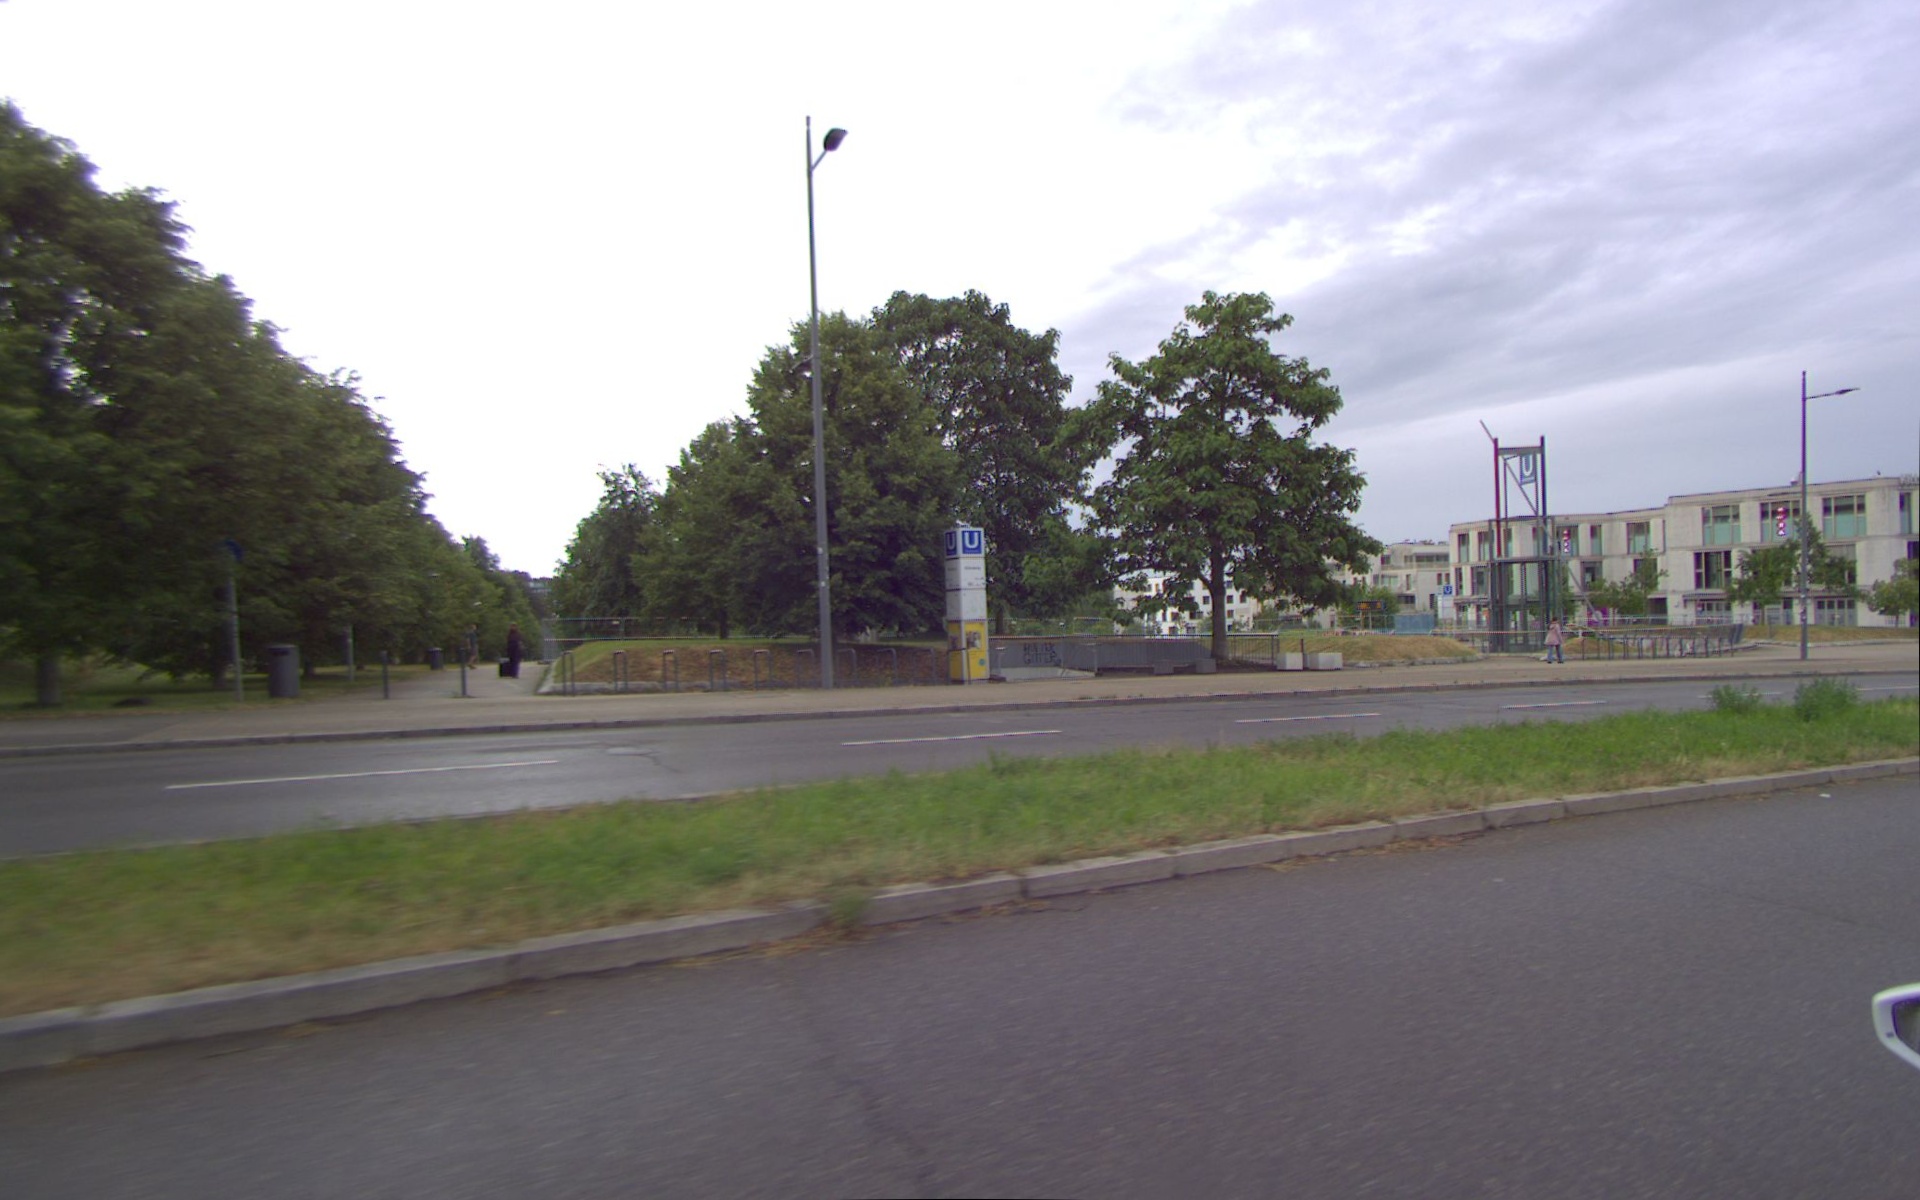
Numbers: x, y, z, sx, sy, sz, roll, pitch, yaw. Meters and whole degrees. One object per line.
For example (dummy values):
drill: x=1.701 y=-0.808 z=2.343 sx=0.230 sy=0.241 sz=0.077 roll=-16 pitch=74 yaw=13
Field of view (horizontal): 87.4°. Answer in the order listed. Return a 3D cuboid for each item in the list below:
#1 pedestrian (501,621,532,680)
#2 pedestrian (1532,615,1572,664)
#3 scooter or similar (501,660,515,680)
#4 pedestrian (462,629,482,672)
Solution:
pedestrian: x=-13.179 y=1.497 z=29.856 sx=0.746 sy=1.750 sz=0.643 roll=2 pitch=-1 yaw=-27
pedestrian: x=20.121 y=1.337 z=34.134 sx=0.923 sy=1.642 sz=0.811 roll=2 pitch=-1 yaw=-27
scooter or similar: x=-13.600 y=2.103 z=30.214 sx=0.354 sy=0.605 sz=0.389 roll=2 pitch=-2 yaw=-28
pedestrian: x=-19.975 y=2.067 z=41.105 sx=0.638 sy=1.750 sz=0.752 roll=2 pitch=-1 yaw=-22
